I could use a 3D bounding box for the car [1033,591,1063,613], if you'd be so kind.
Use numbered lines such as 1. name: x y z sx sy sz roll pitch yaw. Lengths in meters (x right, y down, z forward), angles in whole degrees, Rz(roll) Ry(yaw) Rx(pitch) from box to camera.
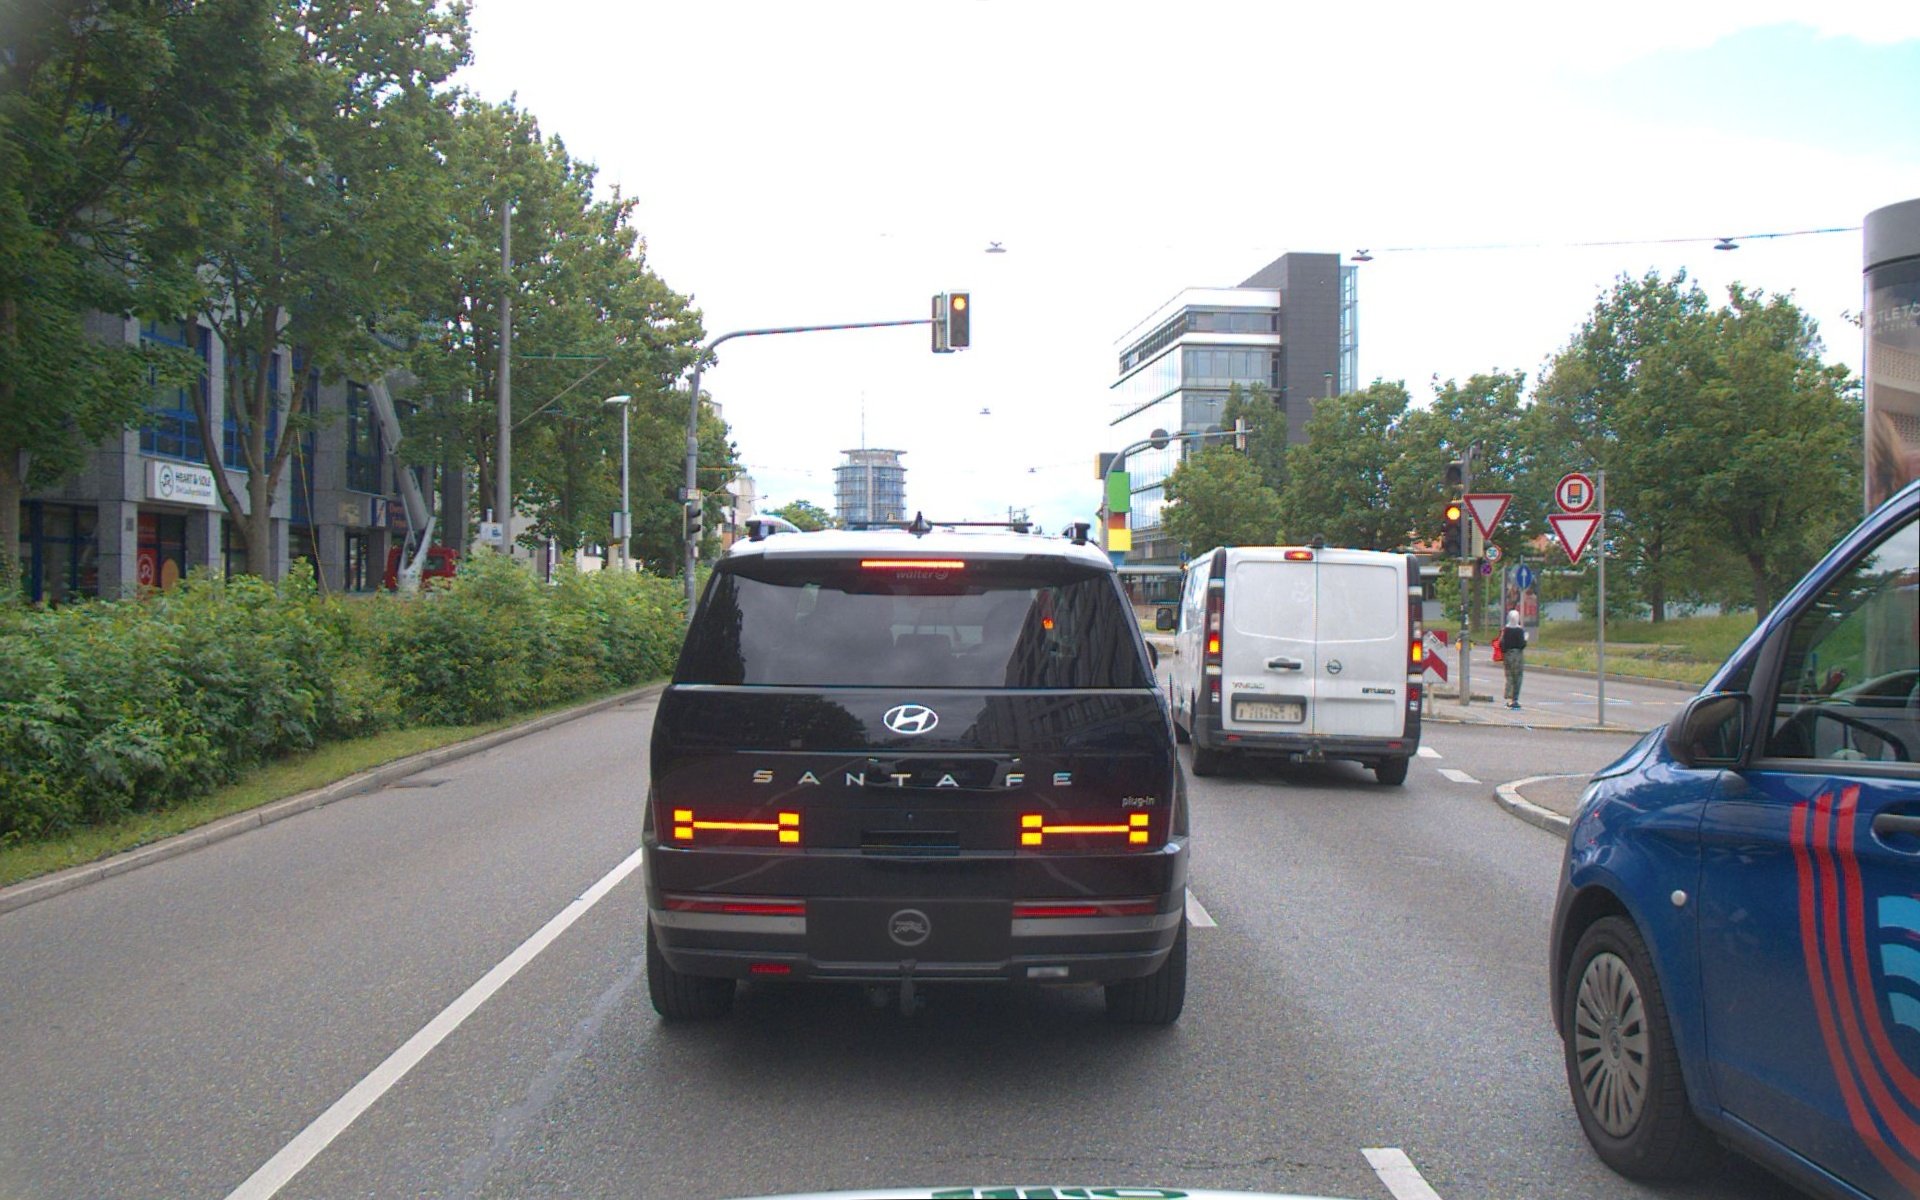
1. car: 7.003 0.164 131.912 1.954 1.713 3.997 1 0 -3

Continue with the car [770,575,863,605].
1. car: -8.163 -0.558 93.855 5.180 1.624 1.997 1 -1 -6

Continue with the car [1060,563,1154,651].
1. car: 3.547 0.175 40.567 1.952 2.049 4.000 1 0 0

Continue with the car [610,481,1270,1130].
1. car: -0.078 0.558 6.529 1.831 1.791 3.879 0 0 -1

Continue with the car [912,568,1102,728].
1. car: 0.700 0.542 20.500 1.738 1.747 4.342 1 0 10

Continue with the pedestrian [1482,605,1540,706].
1. pedestrian: 9.005 0.901 27.024 0.733 1.612 0.565 2 0 -41

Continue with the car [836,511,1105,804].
1. car: 0.044 0.395 13.472 1.876 2.038 3.879 0 0 -1

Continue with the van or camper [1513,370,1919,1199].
1. van or camper: 2.696 0.546 2.742 1.822 1.944 5.031 0 0 -1

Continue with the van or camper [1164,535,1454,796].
1. van or camper: 3.058 0.511 15.462 1.952 2.049 4.654 1 0 3
